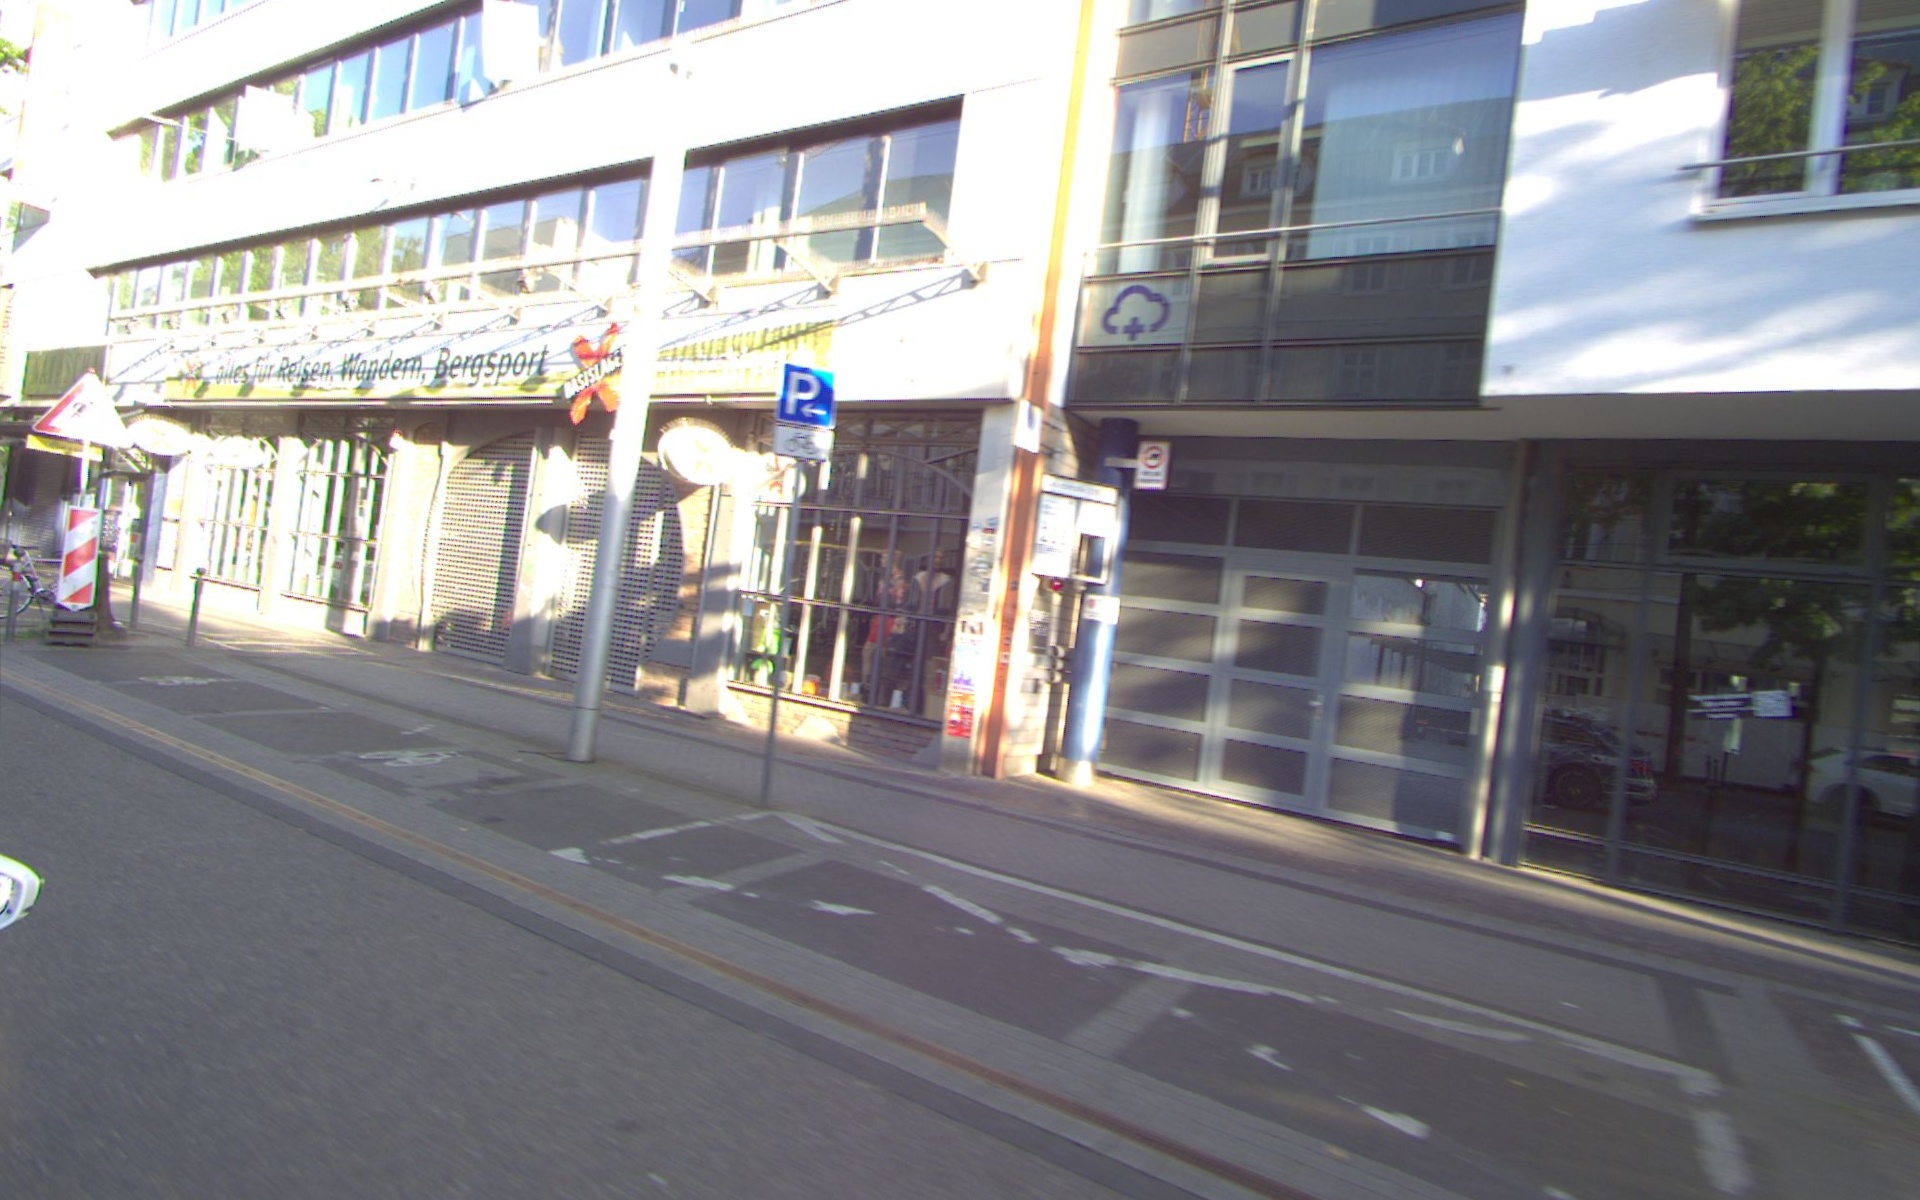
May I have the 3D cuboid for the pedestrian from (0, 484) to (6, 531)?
[{"bbox_3d":[-23.113,-1.871,23.651,0.624,1.852,0.689,7,-1,31],"label":"pedestrian"}]

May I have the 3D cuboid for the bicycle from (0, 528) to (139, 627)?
[{"bbox_3d":[-11.932,-0.305,13.038,0.828,1.149,1.811,6,0,39],"label":"bicycle"}]

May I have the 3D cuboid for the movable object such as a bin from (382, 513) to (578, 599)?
[{"bbox_3d":[-23.810,-2.136,50.212,8.152,2.943,2.794,9,-2,-40],"label":"movable object such as a bin"}]
